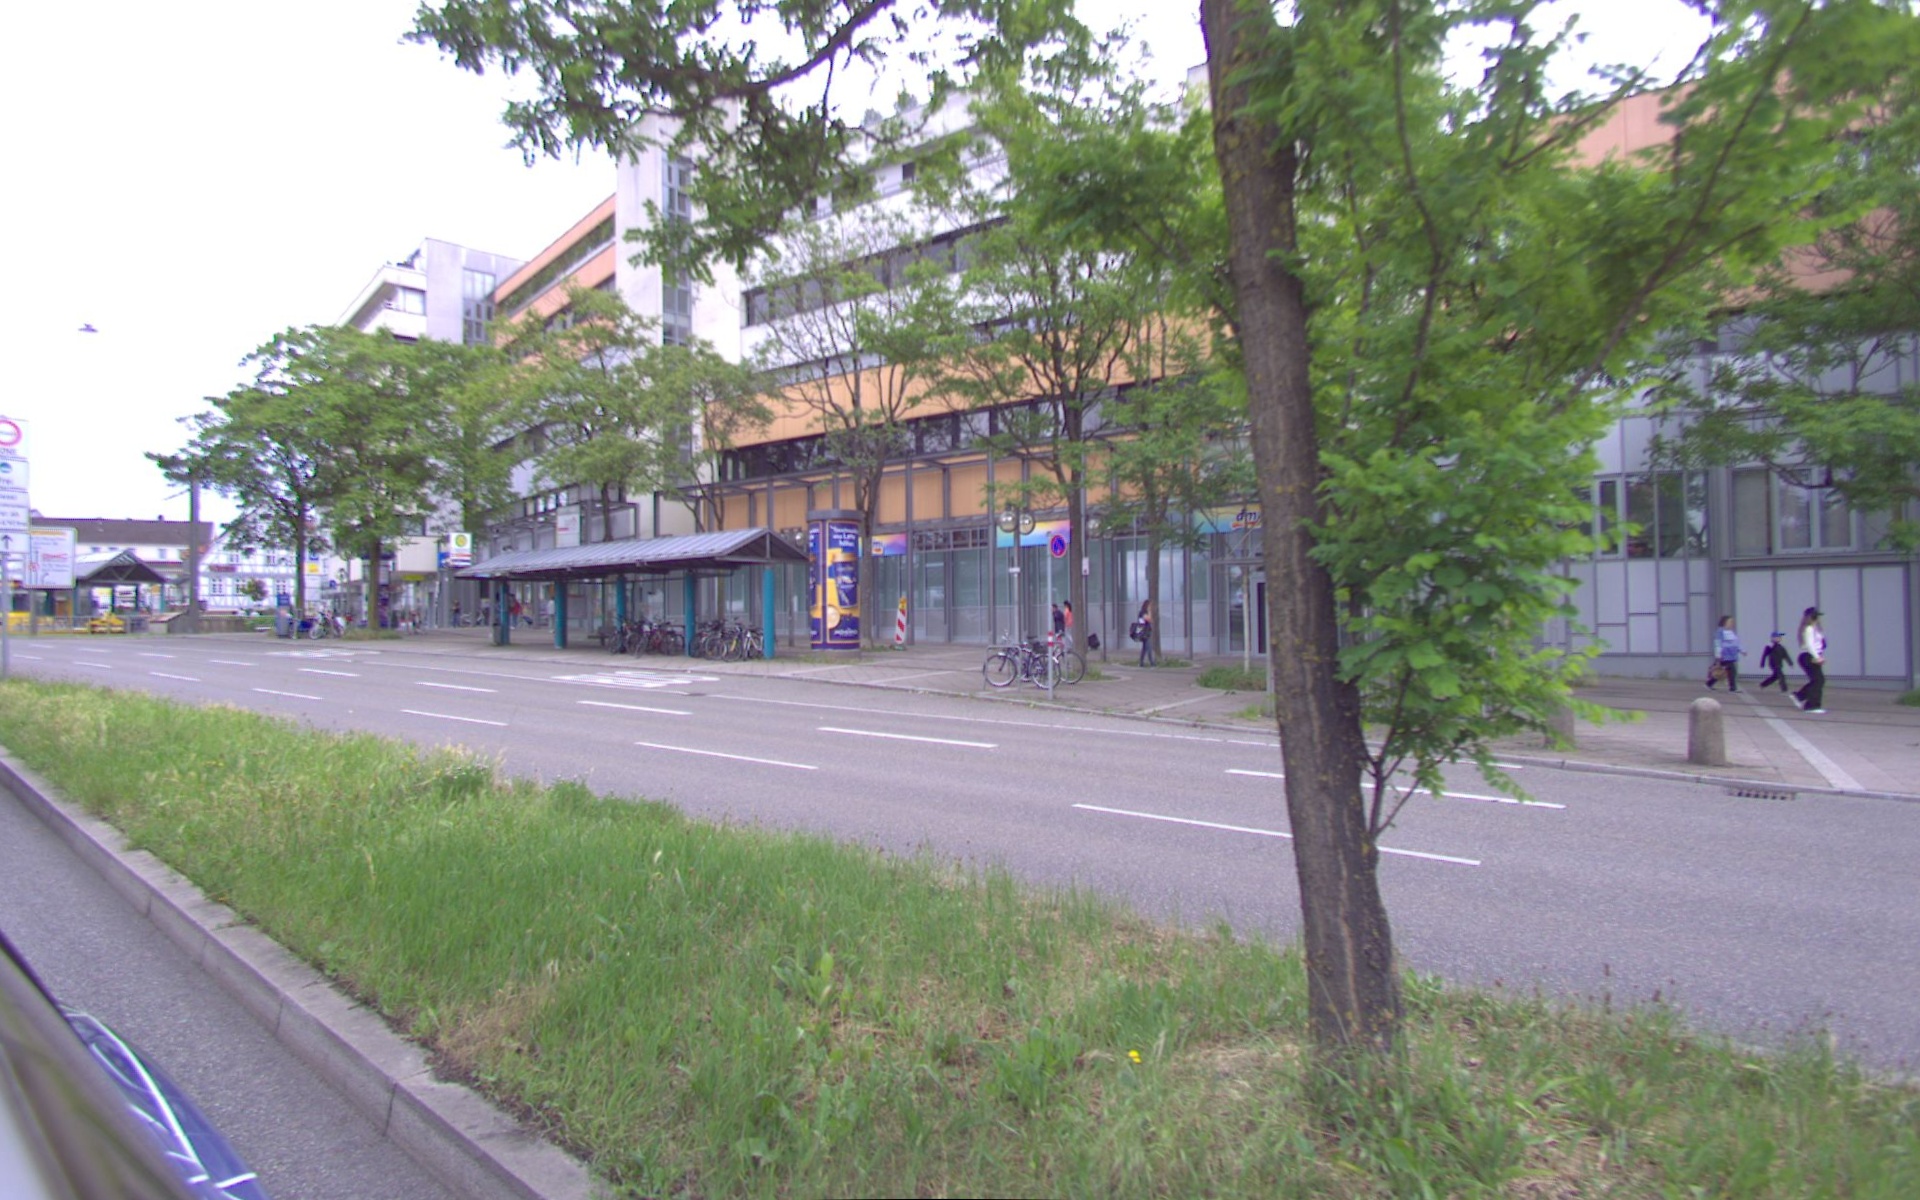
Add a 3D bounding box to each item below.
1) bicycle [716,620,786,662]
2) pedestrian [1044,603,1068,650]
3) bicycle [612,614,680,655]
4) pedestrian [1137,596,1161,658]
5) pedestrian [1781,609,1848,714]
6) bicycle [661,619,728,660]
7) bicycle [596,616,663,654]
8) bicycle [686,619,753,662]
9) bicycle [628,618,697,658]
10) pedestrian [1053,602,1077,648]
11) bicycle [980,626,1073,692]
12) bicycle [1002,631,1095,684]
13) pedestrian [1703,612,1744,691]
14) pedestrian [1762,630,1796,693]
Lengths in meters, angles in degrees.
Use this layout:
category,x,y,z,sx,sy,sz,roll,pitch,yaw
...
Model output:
category,x,y,z,sx,sy,sz,roll,pitch,yaw
bicycle,-5.937,1.150,28.868,0.541,1.098,2.182,0,1,34
pedestrian,3.022,0.825,31.853,0.580,1.443,0.456,0,-1,41
bicycle,-9.690,1.049,31.314,0.541,1.147,2.044,0,1,39
pedestrian,5.874,0.831,31.459,0.580,1.894,0.456,0,-1,41
pedestrian,14.186,0.996,16.806,0.826,1.692,0.769,0,-1,41
bicycle,-7.754,1.146,29.620,0.541,1.098,2.047,0,1,34
bicycle,-10.400,1.091,31.891,0.541,1.098,2.044,0,1,39
bicycle,-6.943,1.149,29.307,0.541,1.147,2.047,0,1,34
bicycle,-8.953,1.126,30.538,0.541,1.098,2.044,0,1,39
pedestrian,3.349,0.793,32.265,0.580,1.443,0.456,0,-1,41
bicycle,1.315,1.154,20.319,1.947,1.234,0.514,-1,0,41
bicycle,1.847,1.189,21.434,2.049,1.034,0.514,-1,0,41
pedestrian,15.306,1.016,20.285,0.638,1.558,0.679,0,-1,39
pedestrian,16.187,1.201,20.000,0.514,1.201,0.378,0,-1,41
